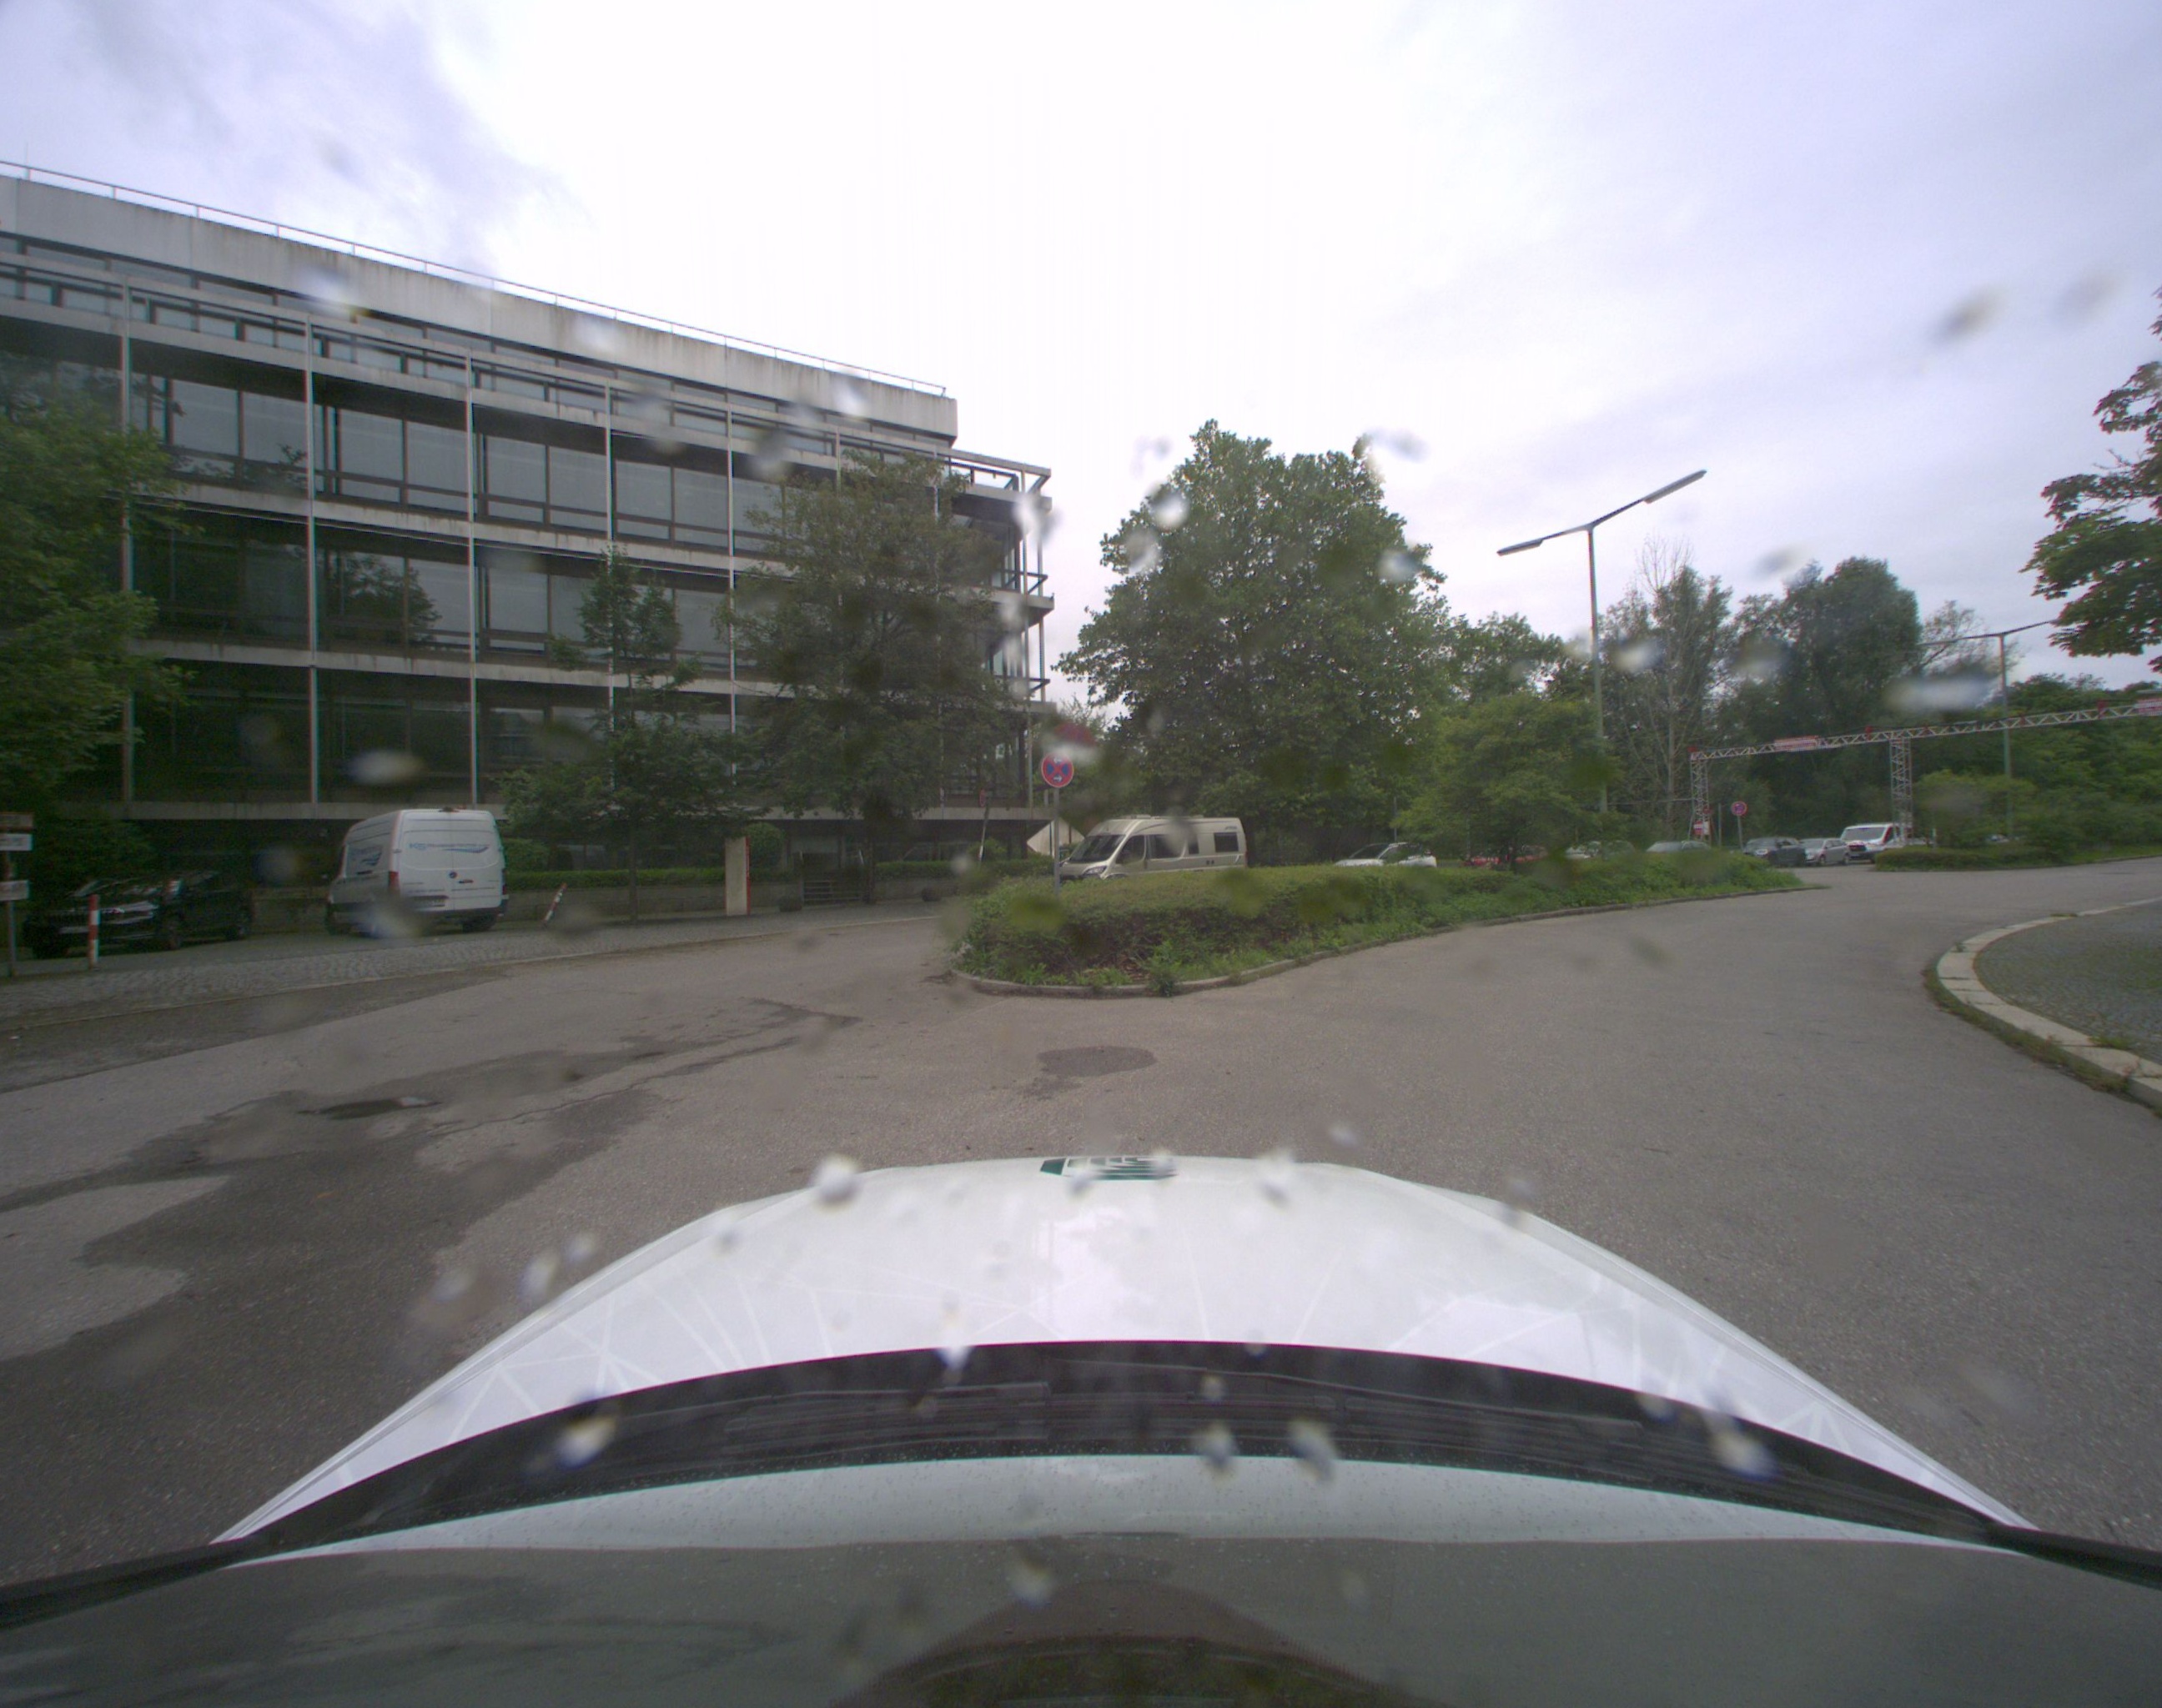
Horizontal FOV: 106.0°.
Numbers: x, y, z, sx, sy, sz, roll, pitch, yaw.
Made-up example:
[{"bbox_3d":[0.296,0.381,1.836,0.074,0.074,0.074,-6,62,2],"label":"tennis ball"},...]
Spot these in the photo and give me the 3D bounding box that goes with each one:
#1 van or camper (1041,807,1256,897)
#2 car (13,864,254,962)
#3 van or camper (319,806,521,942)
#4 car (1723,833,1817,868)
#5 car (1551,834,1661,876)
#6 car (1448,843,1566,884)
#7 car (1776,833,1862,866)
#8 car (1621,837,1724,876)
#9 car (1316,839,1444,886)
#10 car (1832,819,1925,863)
[{"bbox_3d":[2.114,-0.078,23.554,6.452,2.281,2.228,-1,-1,-40],"label":"van or camper"},{"bbox_3d":[-19.509,1.112,17.065,1.953,1.721,4.198,-1,-1,-30],"label":"car"},{"bbox_3d":[-15.062,0.545,18.374,6.454,2.581,2.176,-4,-3,38],"label":"van or camper"},{"bbox_3d":[33.606,-0.186,39.726,4.006,1.574,1.984,-2,-1,-25],"label":"car"},{"bbox_3d":[21.896,0.038,33.961,4.006,1.574,1.984,-2,-1,-25],"label":"car"},{"bbox_3d":[16.427,0.344,31.443,4.006,1.409,1.984,-2,0,-25],"label":"car"},{"bbox_3d":[38.096,-0.210,42.048,4.009,1.574,1.982,-2,-1,-28],"label":"car"},{"bbox_3d":[26.376,0.098,36.303,4.006,1.574,1.984,-2,-1,-25],"label":"car"},{"bbox_3d":[10.597,0.281,28.838,4.006,1.508,1.984,-2,0,-25],"label":"car"},{"bbox_3d":[43.568,-0.702,44.485,4.881,2.227,2.186,-2,-1,-28],"label":"car"}]
